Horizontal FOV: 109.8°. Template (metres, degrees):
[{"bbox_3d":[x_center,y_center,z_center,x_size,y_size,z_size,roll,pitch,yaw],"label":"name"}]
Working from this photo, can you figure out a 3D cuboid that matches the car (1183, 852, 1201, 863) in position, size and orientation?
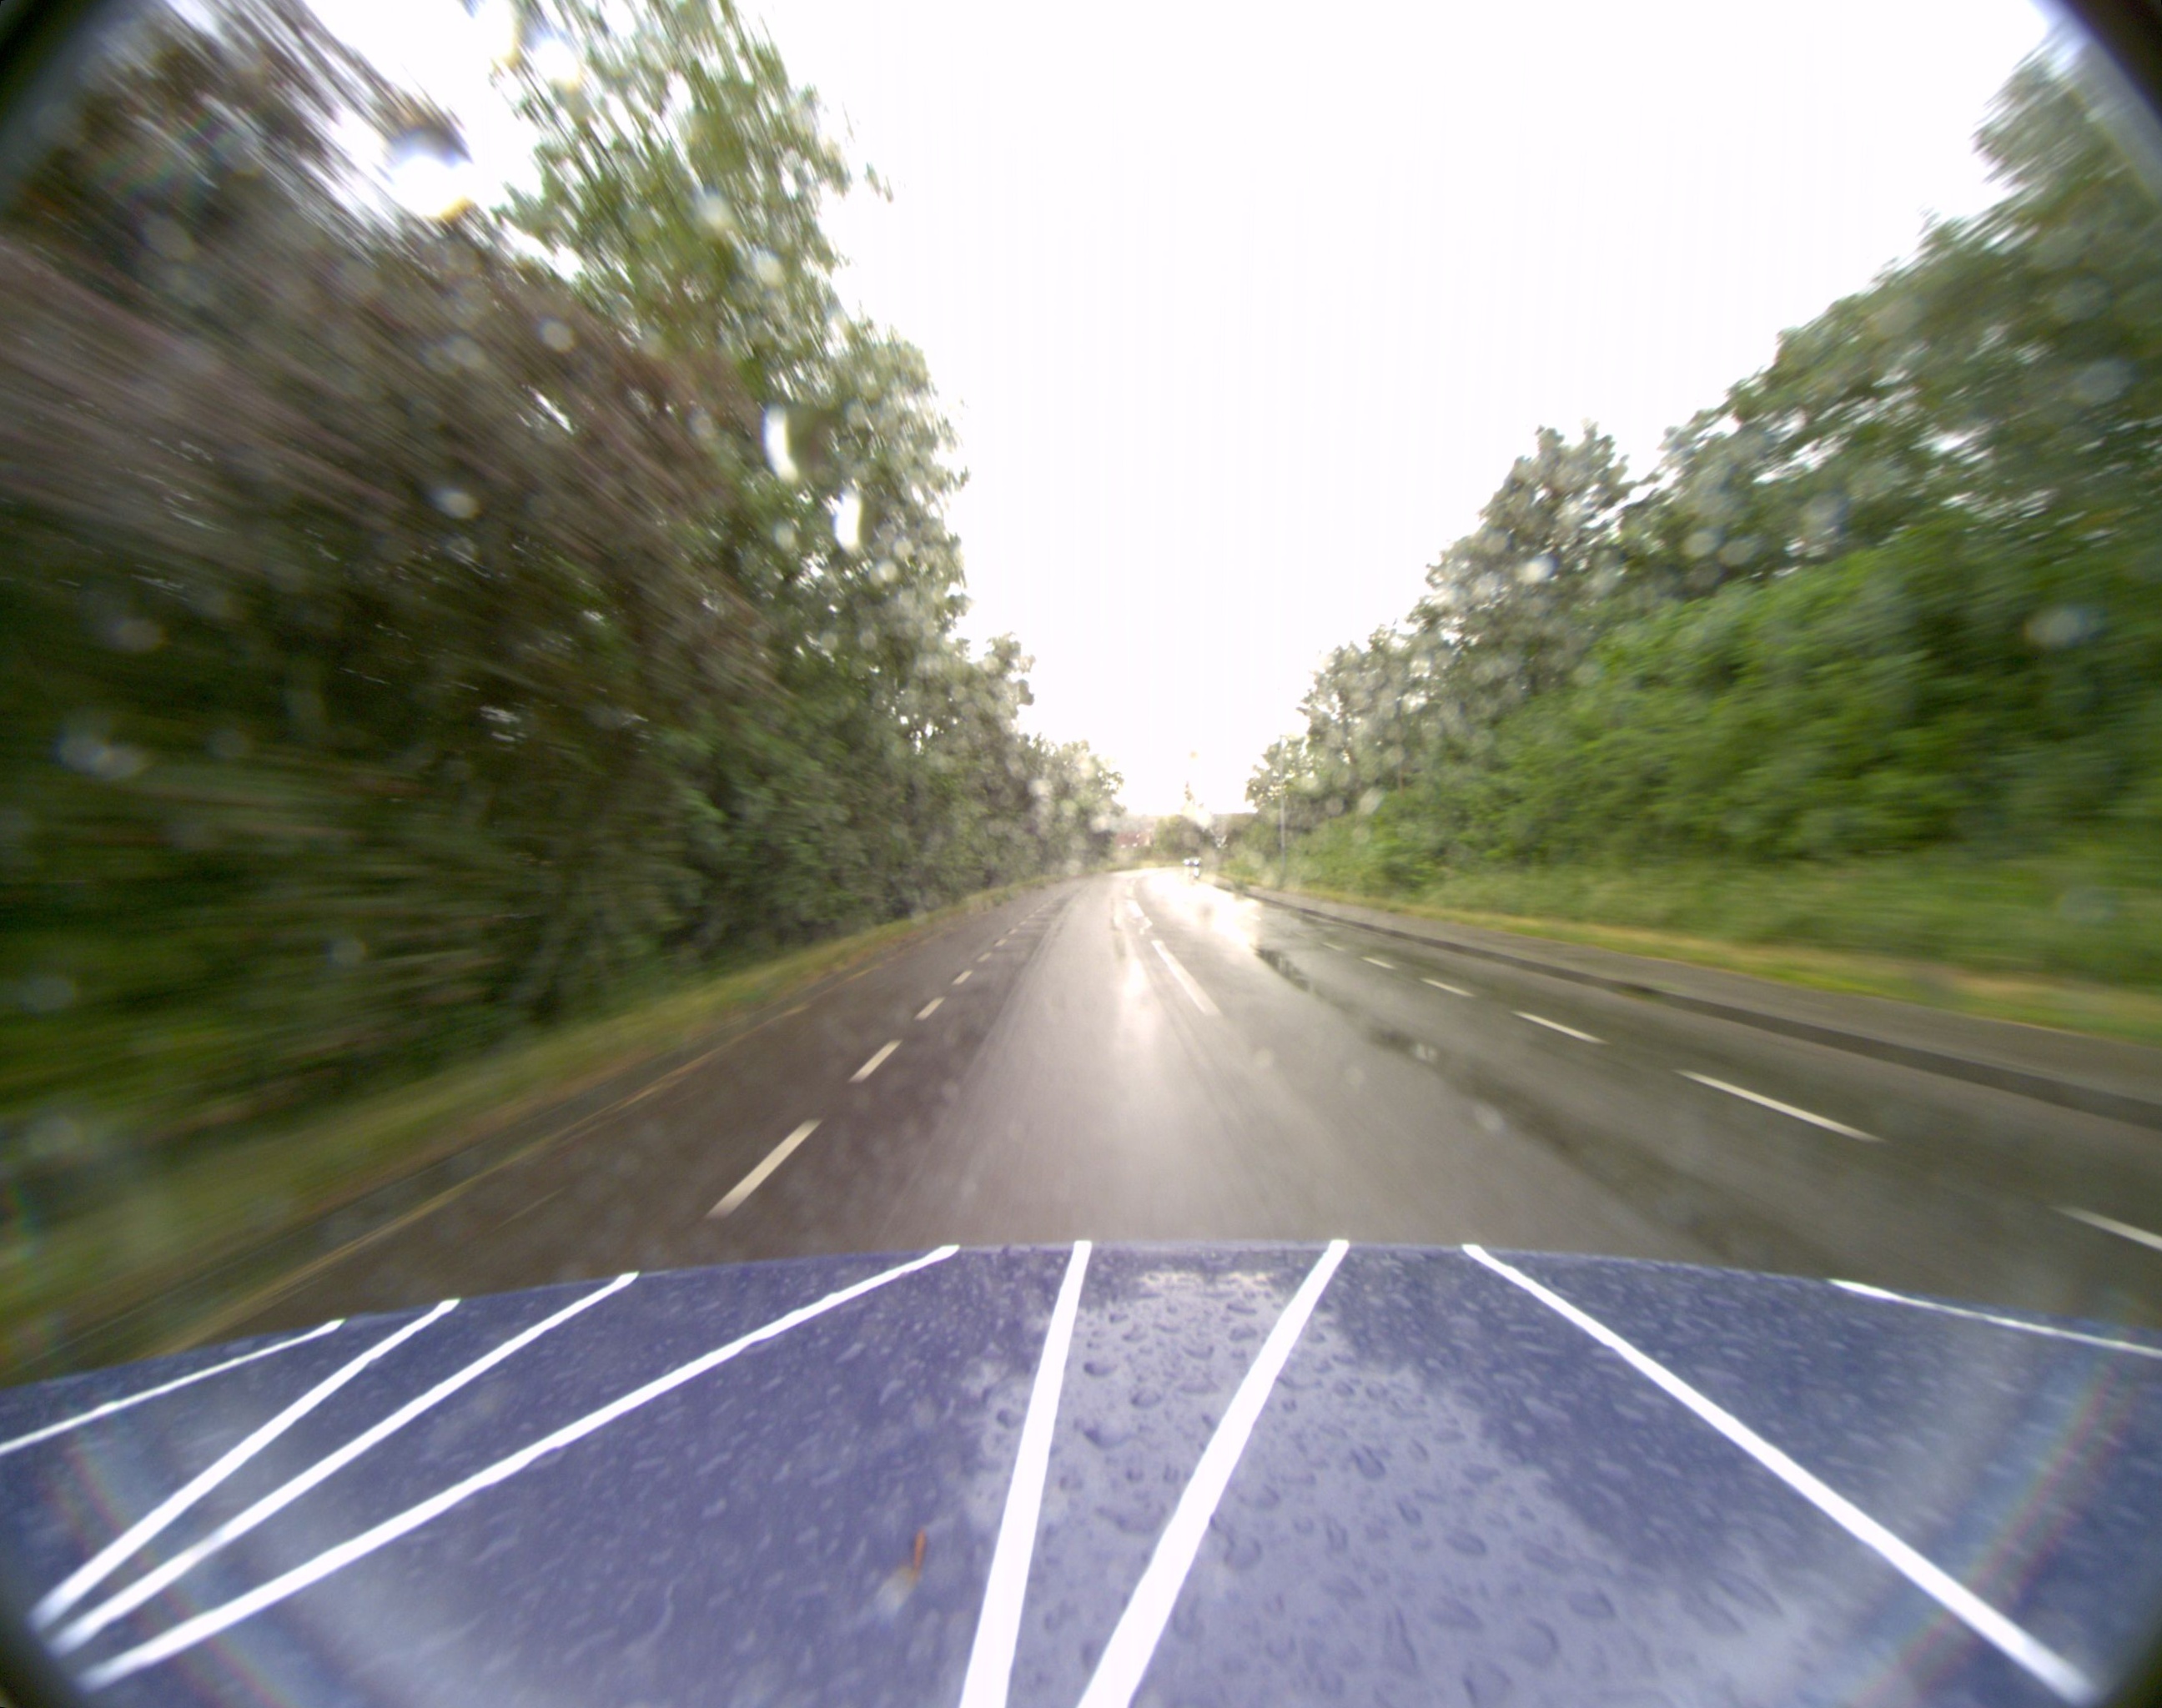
[{"bbox_3d":[16.614,0.551,113.533,1.877,1.596,4.005,1,1,18],"label":"car"}]
